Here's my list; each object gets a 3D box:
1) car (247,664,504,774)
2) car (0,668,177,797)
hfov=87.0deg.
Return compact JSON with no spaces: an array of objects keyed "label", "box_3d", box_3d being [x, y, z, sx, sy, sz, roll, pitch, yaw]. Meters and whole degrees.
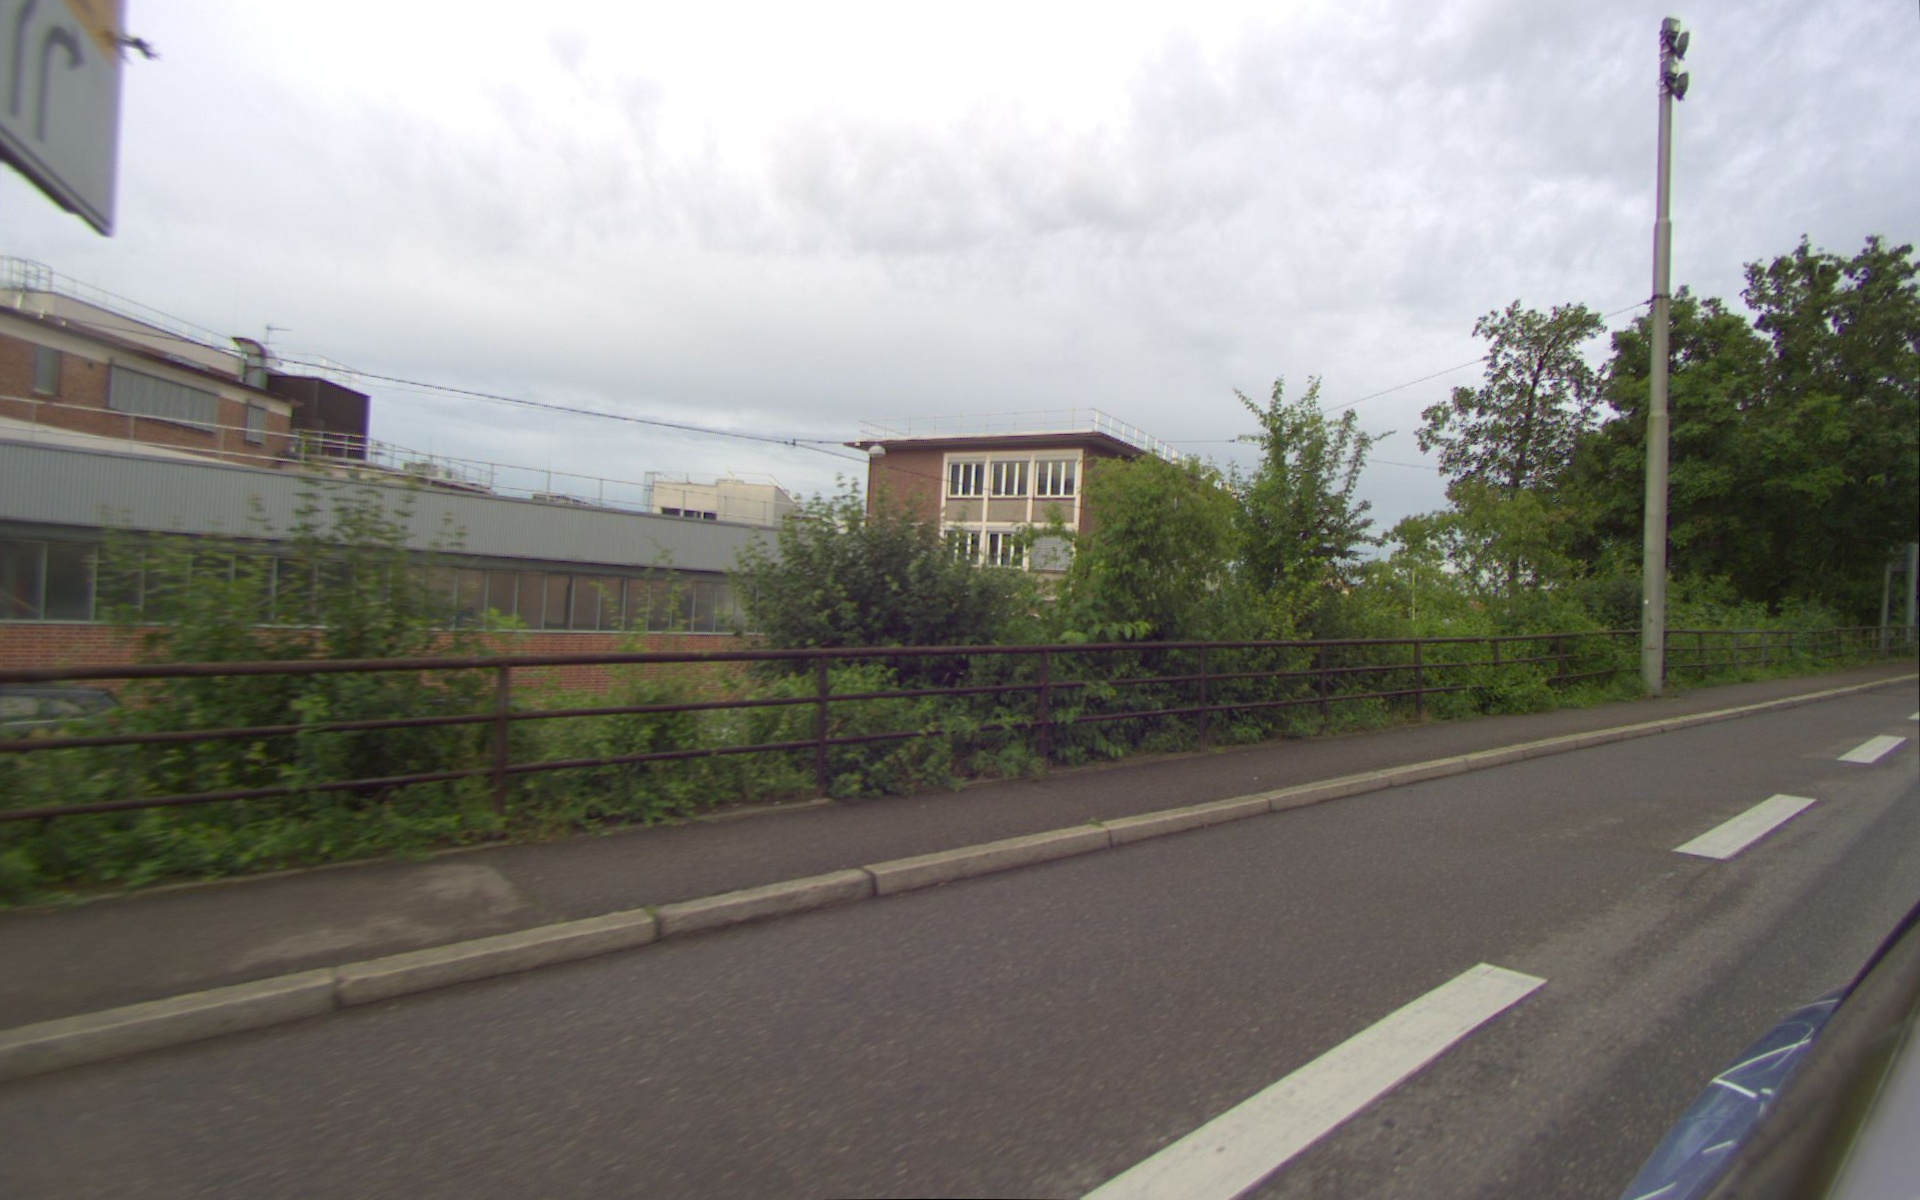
[{"label":"car","box_3d":[-10.583,2.065,18.466,3.790,1.574,1.701,1,0,-42]},{"label":"car","box_3d":[-14.245,1.940,14.756,4.353,1.652,1.635,1,0,-42]}]
